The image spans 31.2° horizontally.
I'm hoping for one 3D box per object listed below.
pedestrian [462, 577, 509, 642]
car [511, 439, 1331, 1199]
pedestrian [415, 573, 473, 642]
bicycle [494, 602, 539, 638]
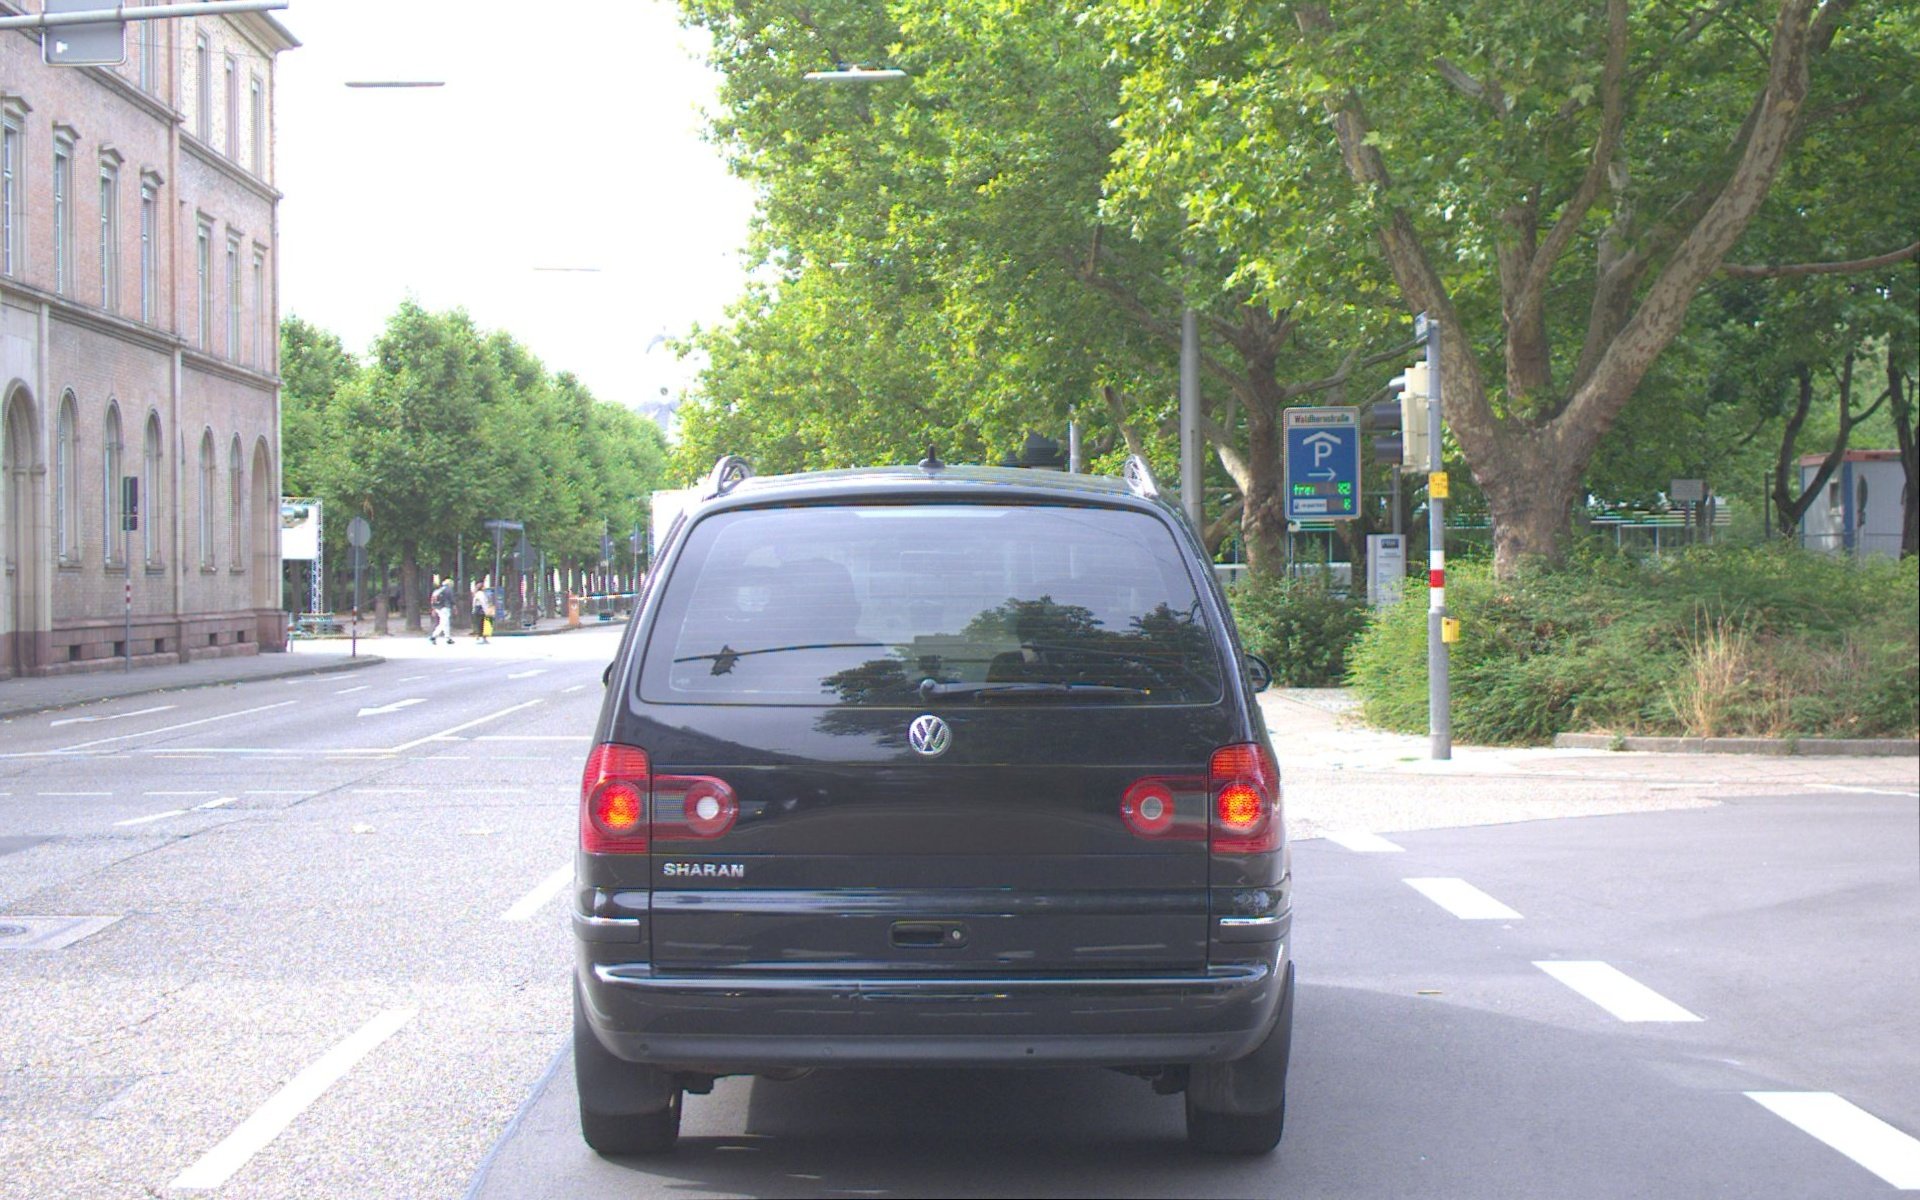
[{"bbox_3d":[-12.034,0.235,87.206,0.896,1.636,0.852,1,0,17],"label":"pedestrian"},{"bbox_3d":[-0.143,0.486,9.657,1.793,1.702,4.131,-1,0,-2],"label":"car"},{"bbox_3d":[-13.145,0.191,87.608,0.961,1.735,1.255,1,0,17],"label":"pedestrian"},{"bbox_3d":[-14.277,0.632,110.636,0.952,1.106,2.580,1,1,-18],"label":"bicycle"}]
